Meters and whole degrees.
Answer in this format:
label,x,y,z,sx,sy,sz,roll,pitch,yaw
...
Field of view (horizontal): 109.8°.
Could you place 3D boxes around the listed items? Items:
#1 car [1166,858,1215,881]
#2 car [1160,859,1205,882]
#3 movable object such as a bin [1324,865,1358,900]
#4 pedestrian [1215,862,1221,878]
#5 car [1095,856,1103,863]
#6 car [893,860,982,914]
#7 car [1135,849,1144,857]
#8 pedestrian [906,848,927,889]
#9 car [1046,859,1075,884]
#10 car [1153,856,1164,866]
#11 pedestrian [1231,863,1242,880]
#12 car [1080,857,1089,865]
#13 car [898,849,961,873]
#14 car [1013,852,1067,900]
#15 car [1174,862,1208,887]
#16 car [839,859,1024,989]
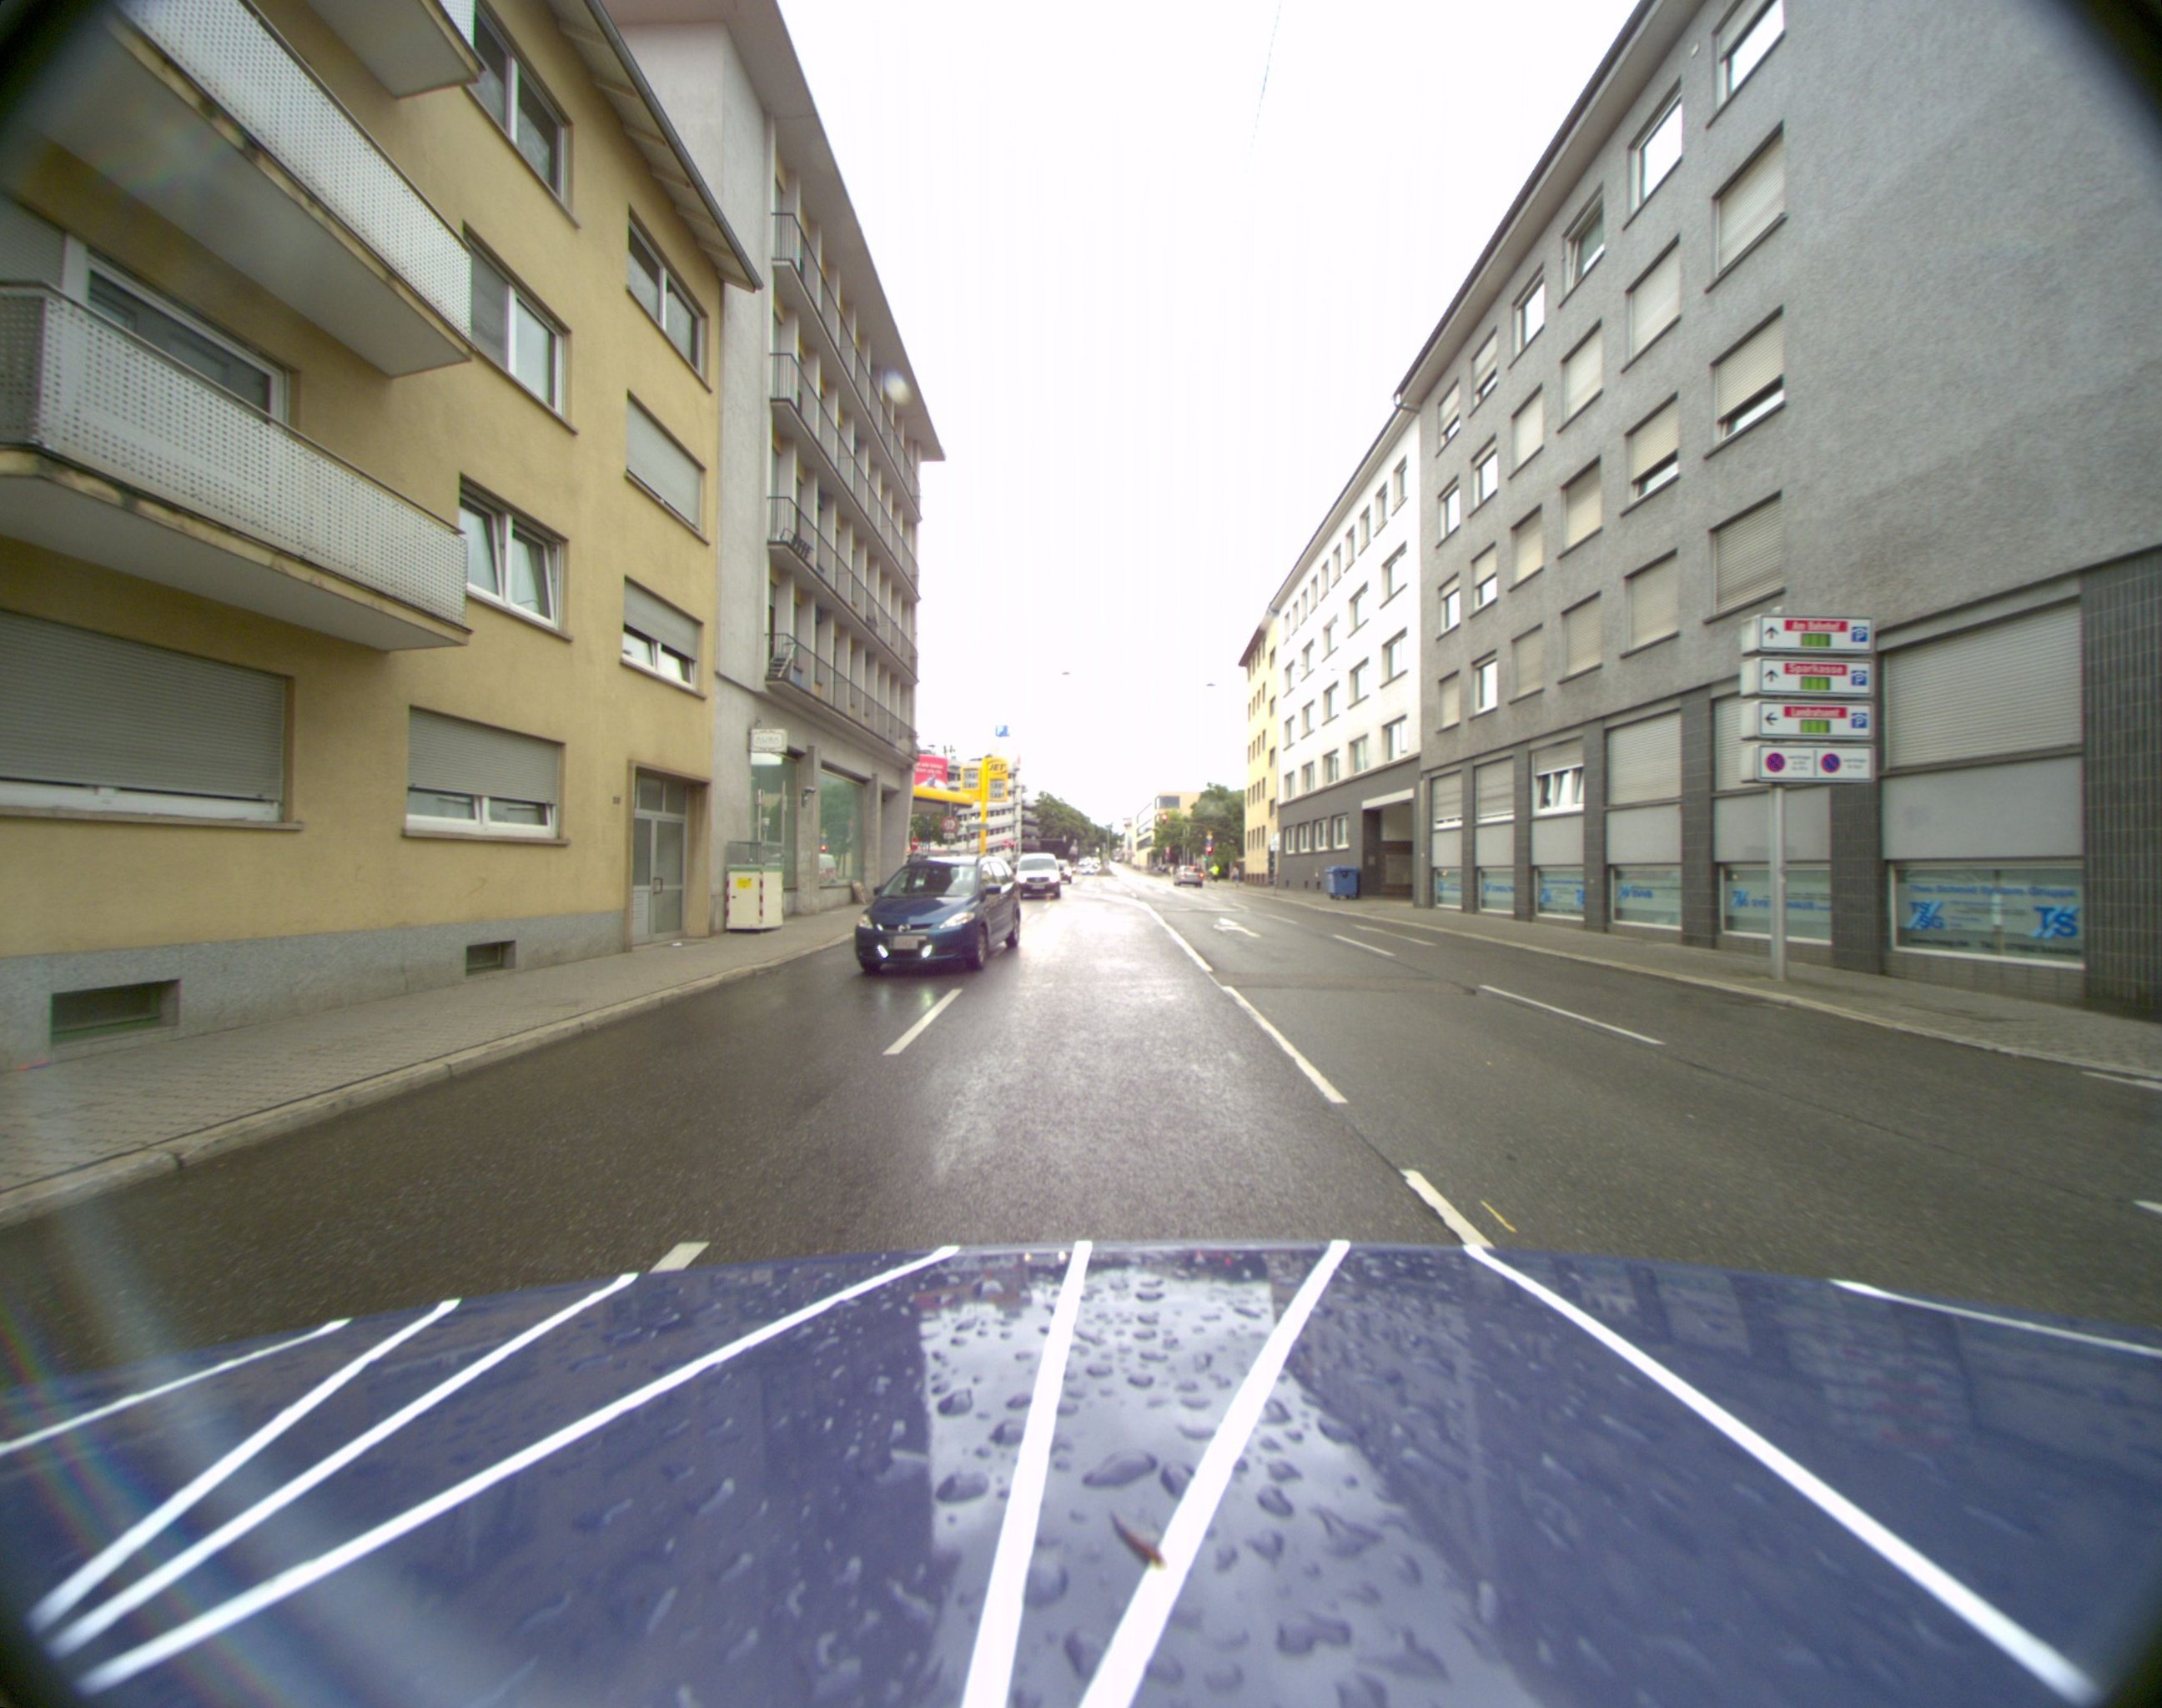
label,x,y,z,sx,sy,sz,roll,pitch,yaw
car,9.388,1.305,65.192,3.928,1.706,1.903,-3,0,2
car,9.023,1.434,67.723,3.794,1.823,1.692,-3,0,2
movable object such as a bin,10.490,1.129,30.692,0.946,1.325,1.096,-3,0,2
pedestrian,11.779,1.384,65.354,0.442,1.362,0.535,3,1,3
car,4.897,1.530,207.854,1.998,1.736,4.000,-2,1,1
car,-4.245,0.940,23.151,1.803,1.427,4.166,1,0,1
car,14.388,-0.275,186.843,1.998,1.683,4.000,-2,1,2
pedestrian,-7.170,0.618,33.234,0.679,1.745,0.888,1,1,3
car,-1.366,1.193,52.188,1.771,1.571,4.000,-1,0,1
car,16.799,1.532,163.979,1.998,1.863,4.000,-2,1,1
pedestrian,10.370,1.167,50.686,0.583,1.143,0.407,3,1,1
car,0.932,1.736,198.767,1.998,2.002,4.000,-2,1,1
car,-10.114,0.484,50.681,3.989,1.465,1.775,-2,0,33
car,-1.589,0.845,31.353,1.945,1.764,4.746,-2,0,0
car,7.775,1.425,53.968,1.883,1.580,4.373,0,0,1
car,-2.095,0.927,11.916,1.812,1.597,4.212,-2,0,3
